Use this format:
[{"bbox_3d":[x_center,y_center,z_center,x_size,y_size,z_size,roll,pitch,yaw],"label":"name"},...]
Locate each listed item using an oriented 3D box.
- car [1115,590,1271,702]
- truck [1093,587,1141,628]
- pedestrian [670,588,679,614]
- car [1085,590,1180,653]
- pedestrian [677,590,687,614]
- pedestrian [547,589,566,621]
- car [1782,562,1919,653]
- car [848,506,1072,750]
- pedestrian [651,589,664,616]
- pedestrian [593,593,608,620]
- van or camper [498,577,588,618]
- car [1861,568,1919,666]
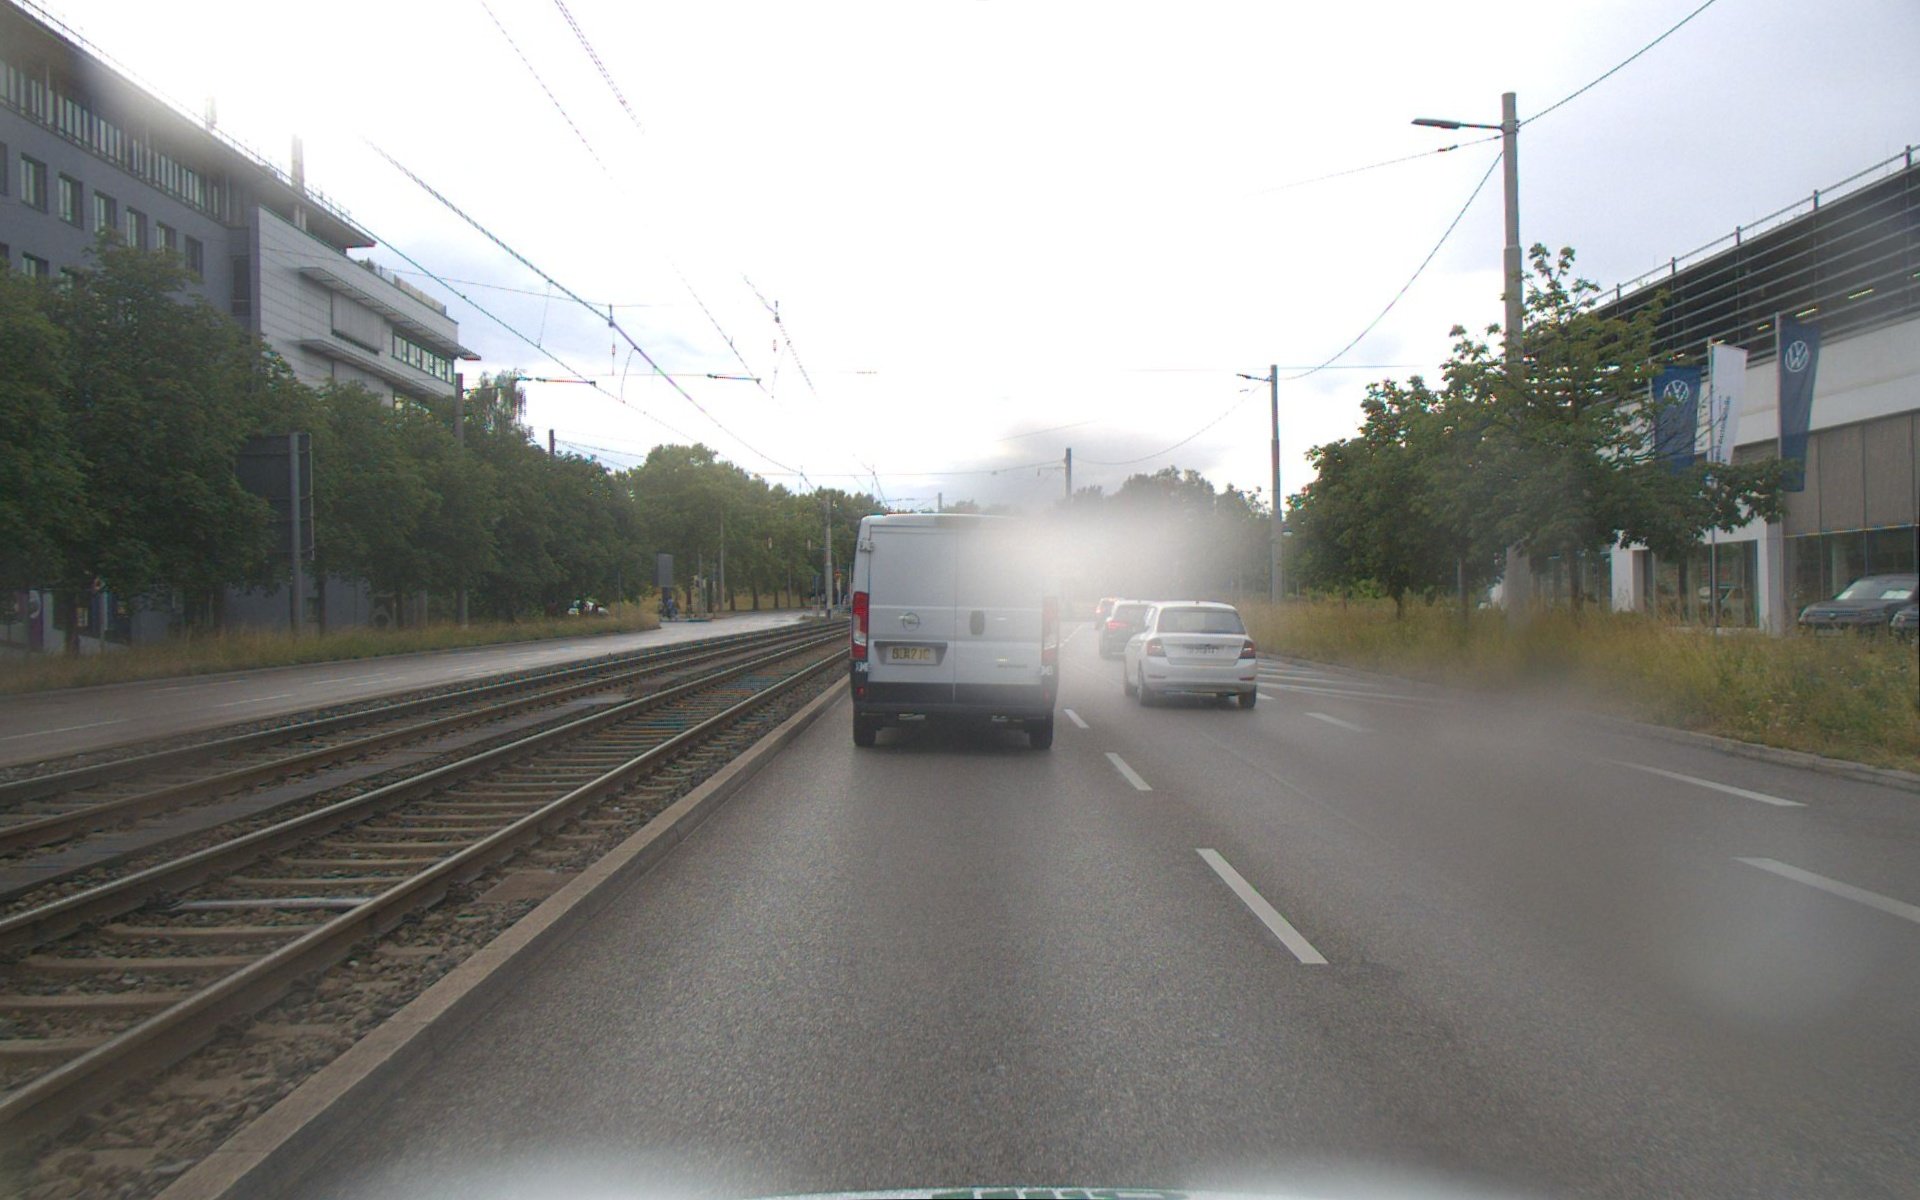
[{"bbox_3d":[3.343,0.621,24.347,1.711,1.483,3.670,1,0,-1],"label":"car"},{"bbox_3d":[7.331,0.321,77.693,1.952,1.822,4.415,-1,0,2],"label":"truck"},{"bbox_3d":[-21.916,0.075,126.896,0.485,1.990,0.722,1,0,4],"label":"pedestrian"},{"bbox_3d":[4.224,0.521,41.016,1.753,1.474,3.998,0,0,-3],"label":"car"},{"bbox_3d":[-21.287,0.182,126.658,0.495,1.818,0.832,1,0,5],"label":"pedestrian"},{"bbox_3d":[-26.687,0.333,109.372,0.868,2.049,0.946,-1,0,15],"label":"pedestrian"},{"bbox_3d":[18.221,0.096,32.153,4.565,1.596,1.832,-2,-1,-31],"label":"car"},{"bbox_3d":[-0.057,0.242,17.910,2.048,2.235,5.060,1,0,-1],"label":"car"},{"bbox_3d":[-23.437,0.179,128.122,0.869,2.049,0.865,-1,0,-5],"label":"pedestrian"},{"bbox_3d":[-24.216,0.417,111.376,0.710,1.786,0.878,1,0,3],"label":"pedestrian"},{"bbox_3d":[-31.717,-0.183,125.679,7.224,3.019,2.483,0,1,35],"label":"van or camper"},{"bbox_3d":[17.513,0.201,28.308,4.320,1.596,1.779,-2,-1,-33],"label":"car"}]
